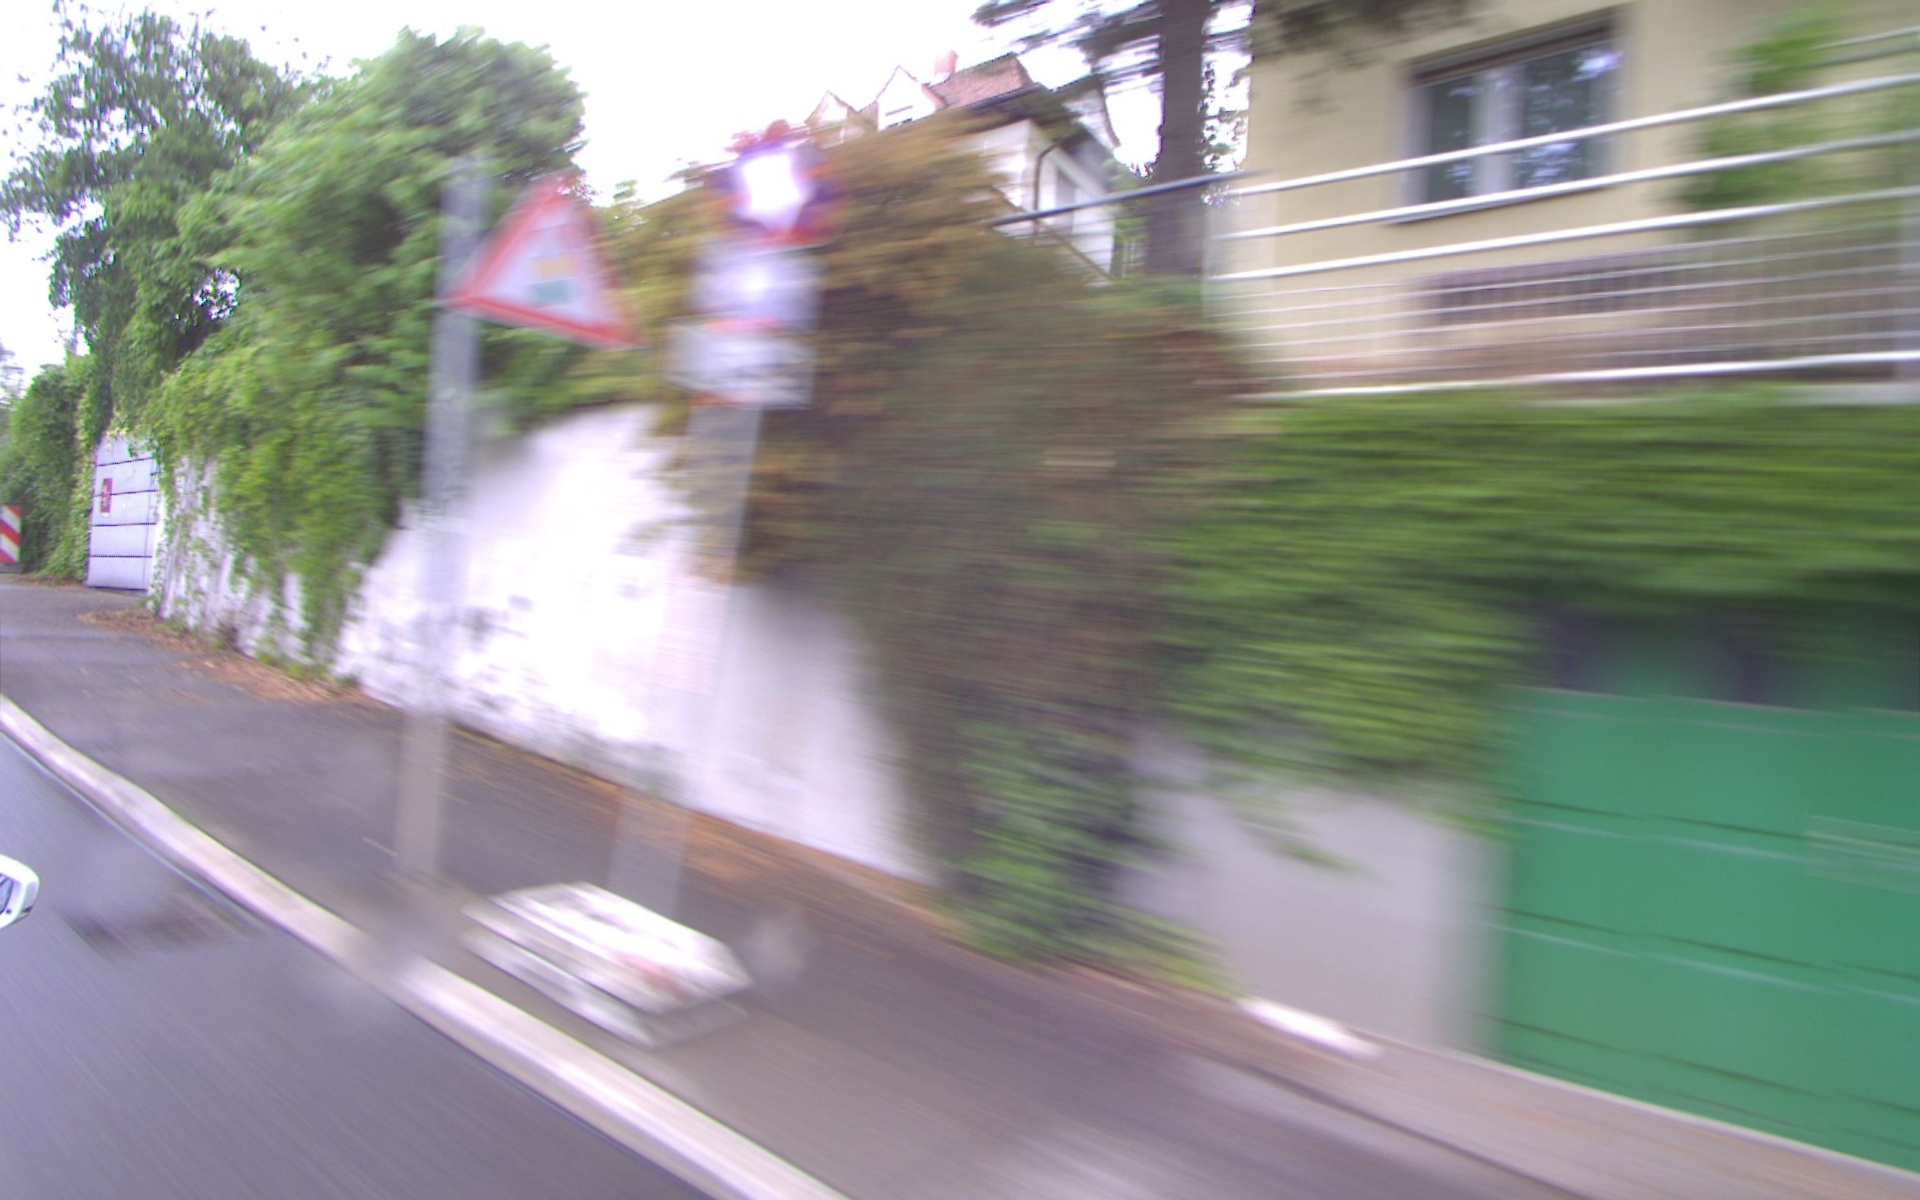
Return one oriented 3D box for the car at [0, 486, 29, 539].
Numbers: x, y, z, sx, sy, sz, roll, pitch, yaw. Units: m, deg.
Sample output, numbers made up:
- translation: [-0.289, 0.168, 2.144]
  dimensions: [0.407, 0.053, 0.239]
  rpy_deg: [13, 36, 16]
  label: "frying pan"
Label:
- translation: [-36.166, -3.304, 37.320]
  dimensions: [1.717, 1.920, 4.018]
  rpy_deg: [3, 2, -34]
  label: "car"
